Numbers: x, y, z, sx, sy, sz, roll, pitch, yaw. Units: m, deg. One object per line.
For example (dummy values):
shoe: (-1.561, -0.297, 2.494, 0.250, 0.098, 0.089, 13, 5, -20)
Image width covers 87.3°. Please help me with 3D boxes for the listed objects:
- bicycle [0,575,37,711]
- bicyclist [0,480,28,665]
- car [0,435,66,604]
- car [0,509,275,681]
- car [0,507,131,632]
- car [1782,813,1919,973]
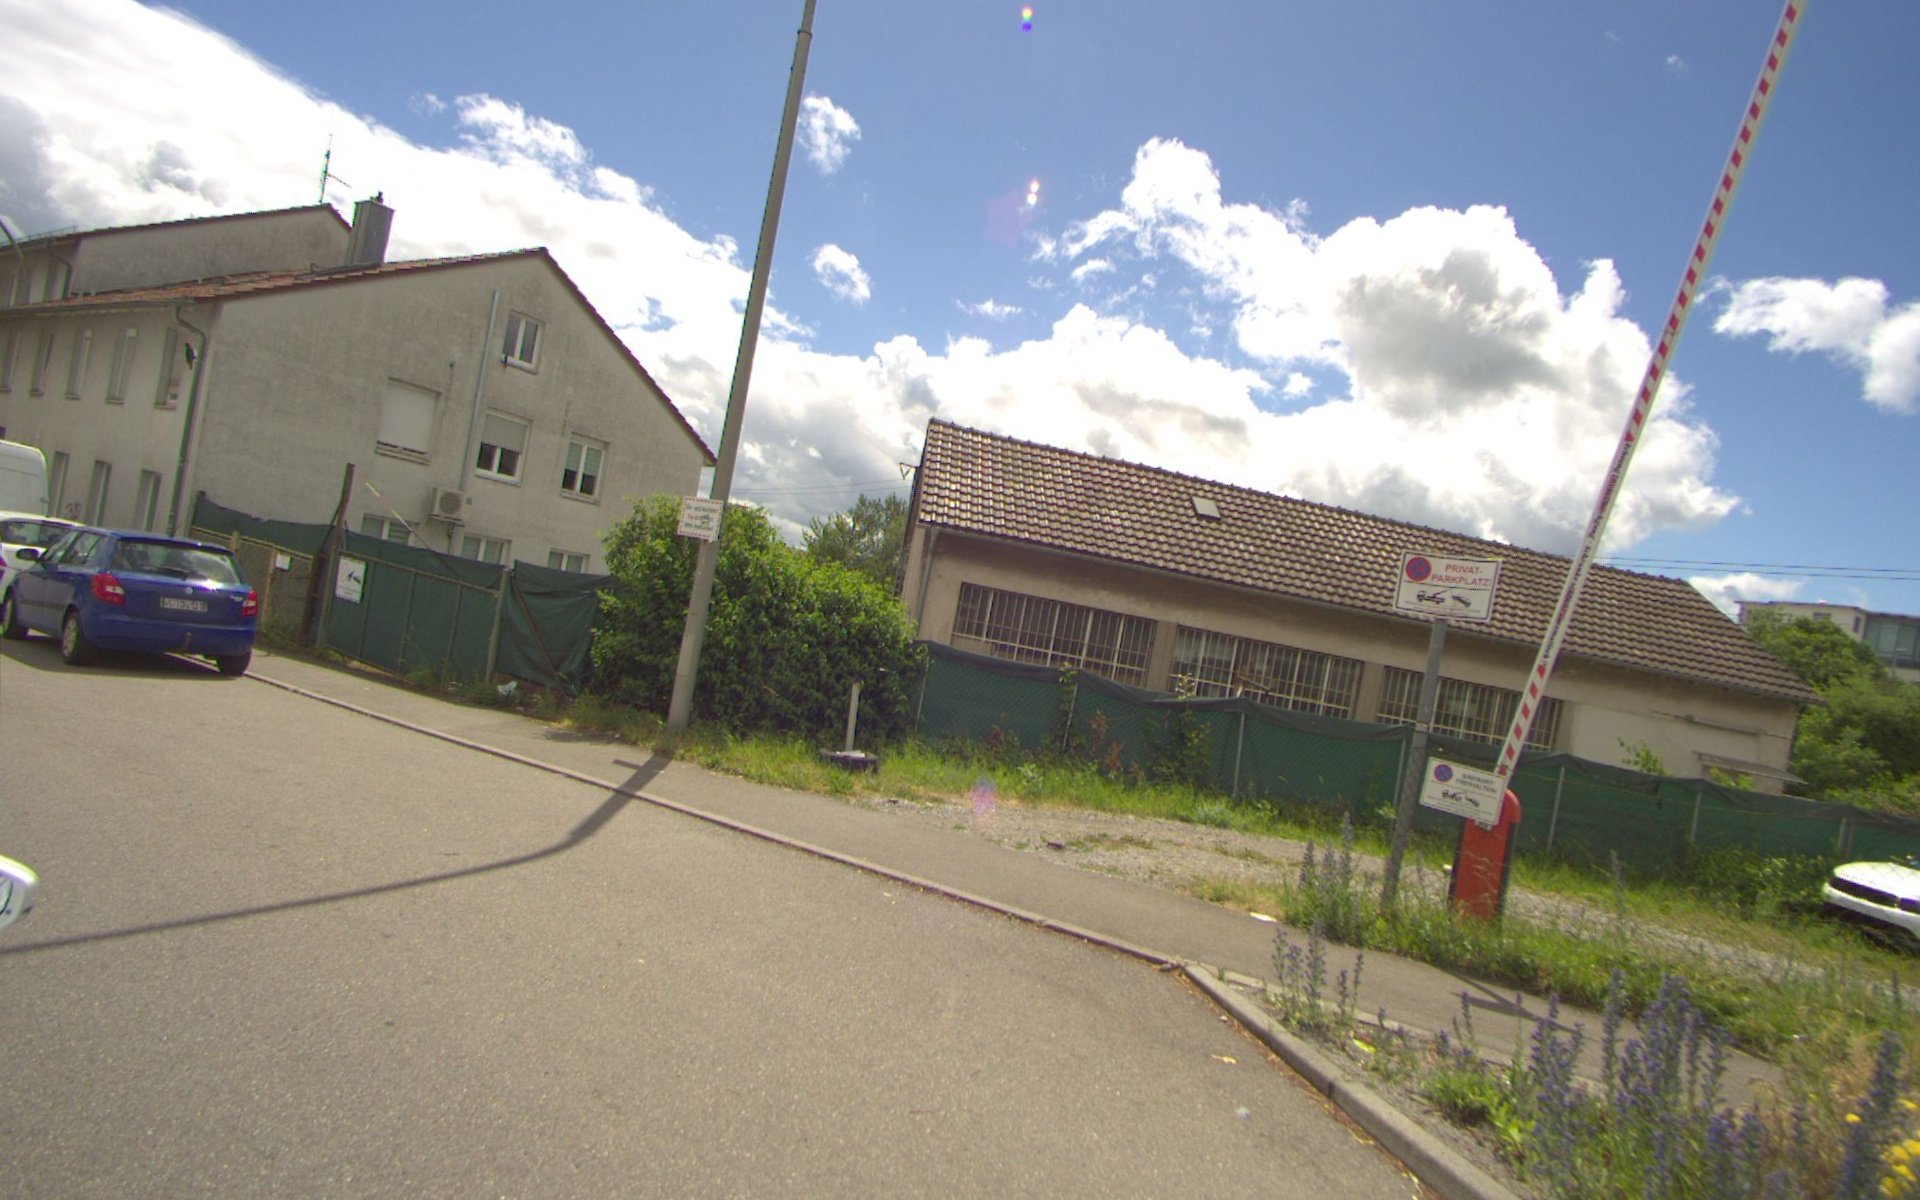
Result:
bicycle: (-8.132, 0.244, 7.948, 1.704, 0.986, 0.741, 7, -2, 33)
bicyclist: (-8.138, -0.195, 7.995, 0.719, 1.645, 0.741, 7, -2, 32)
car: (-18.767, -1.695, 18.100, 7.166, 2.671, 2.037, 6, -2, 34)
car: (-9.995, -0.105, 11.975, 4.029, 1.527, 1.569, 6, -3, 35)
car: (-13.909, -0.560, 14.731, 3.729, 1.527, 1.595, 6, -3, 34)
car: (12.192, 3.635, 11.629, 3.974, 1.406, 1.743, 10, -1, -5)
